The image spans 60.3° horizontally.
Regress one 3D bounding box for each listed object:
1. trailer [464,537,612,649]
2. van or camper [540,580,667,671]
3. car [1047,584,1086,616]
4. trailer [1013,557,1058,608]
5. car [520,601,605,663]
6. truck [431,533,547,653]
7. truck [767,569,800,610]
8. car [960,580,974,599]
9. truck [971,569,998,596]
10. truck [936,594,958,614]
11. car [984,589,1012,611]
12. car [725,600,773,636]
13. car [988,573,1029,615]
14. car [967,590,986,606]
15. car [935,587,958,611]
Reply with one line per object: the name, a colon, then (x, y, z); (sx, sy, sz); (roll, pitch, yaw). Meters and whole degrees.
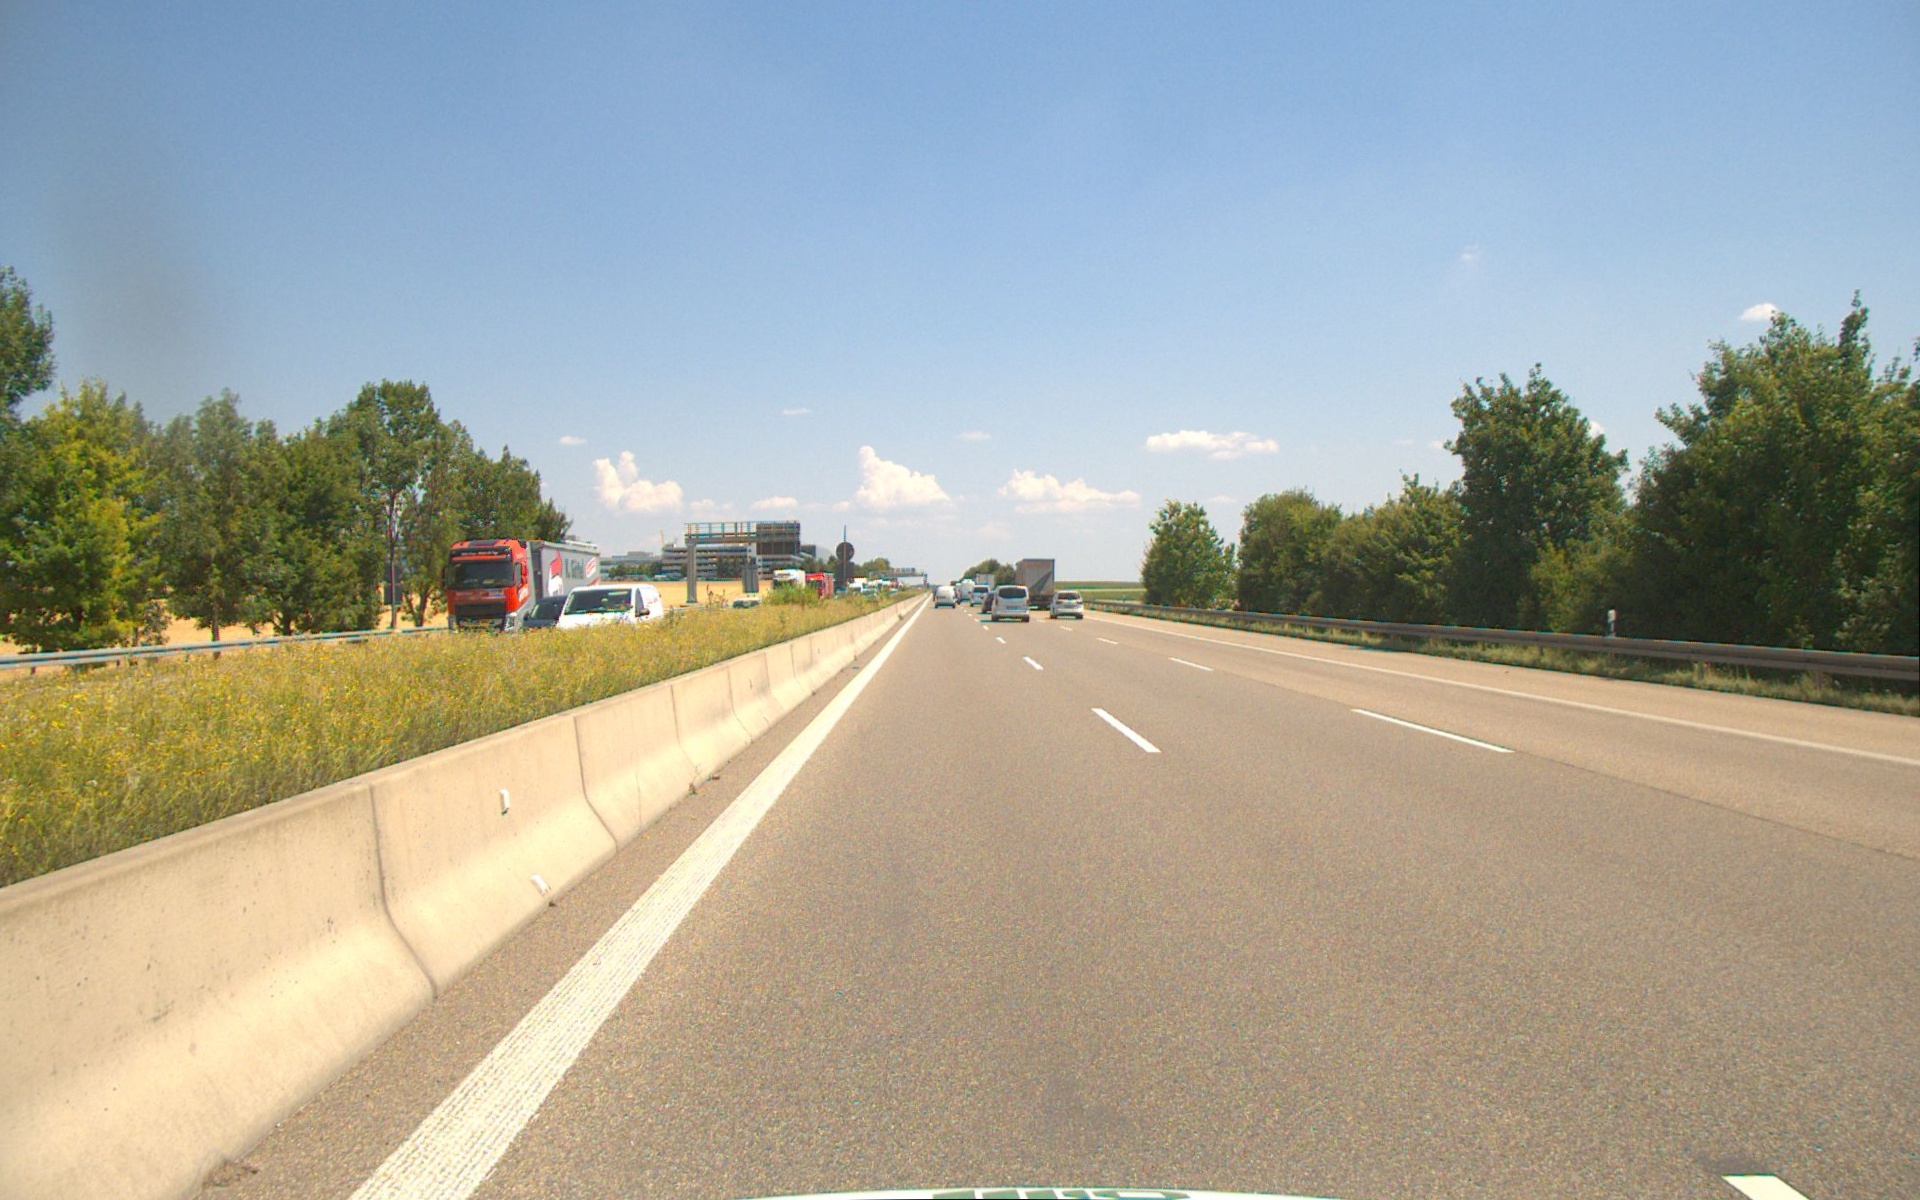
trailer: (-16.400, -0.267, 65.371); (2.798, 3.922, 12.183); (-2, 0, -1)
van or camper: (-8.227, 0.542, 38.631); (1.953, 1.967, 5.200); (-1, 0, -2)
car: (6.277, 0.034, 97.873); (1.953, 1.825, 3.999); (0, -1, -1)
trailer: (6.225, -1.382, 137.194); (3.211, 4.037, 9.110); (0, -1, -1)
car: (-12.032, 0.925, 50.267); (1.660, 1.757, 4.260); (-1, 0, -2)
truck: (-16.251, -0.235, 57.297); (2.798, 3.922, 3.999); (-2, 0, -1)
truck: (-18.738, -1.150, 176.129); (2.890, 4.230, 5.470); (-2, 0, -1)
car: (0.847, -1.319, 210.013); (1.737, 2.434, 3.999); (0, -1, -1)
truck: (3.819, -2.734, 260.625); (3.738, 3.973, 9.578); (-1, 0, -1)
truck: (-1.403, 0.432, 176.508); (2.167, 2.049, 4.970); (-1, 0, -2)
car: (2.634, 0.028, 115.311); (1.737, 1.473, 3.999); (0, -1, -1)
car: (-9.094, 0.751, 71.461); (1.660, 1.441, 3.814); (-1, 0, -2)
car: (2.514, -0.284, 86.807); (1.953, 2.157, 3.999); (0, -1, -1)
car: (1.563, -0.188, 156.808); (1.737, 1.473, 3.999); (0, -1, -1)
car: (-1.173, -0.073, 142.038); (1.953, 2.049, 3.999); (0, -1, -1)
